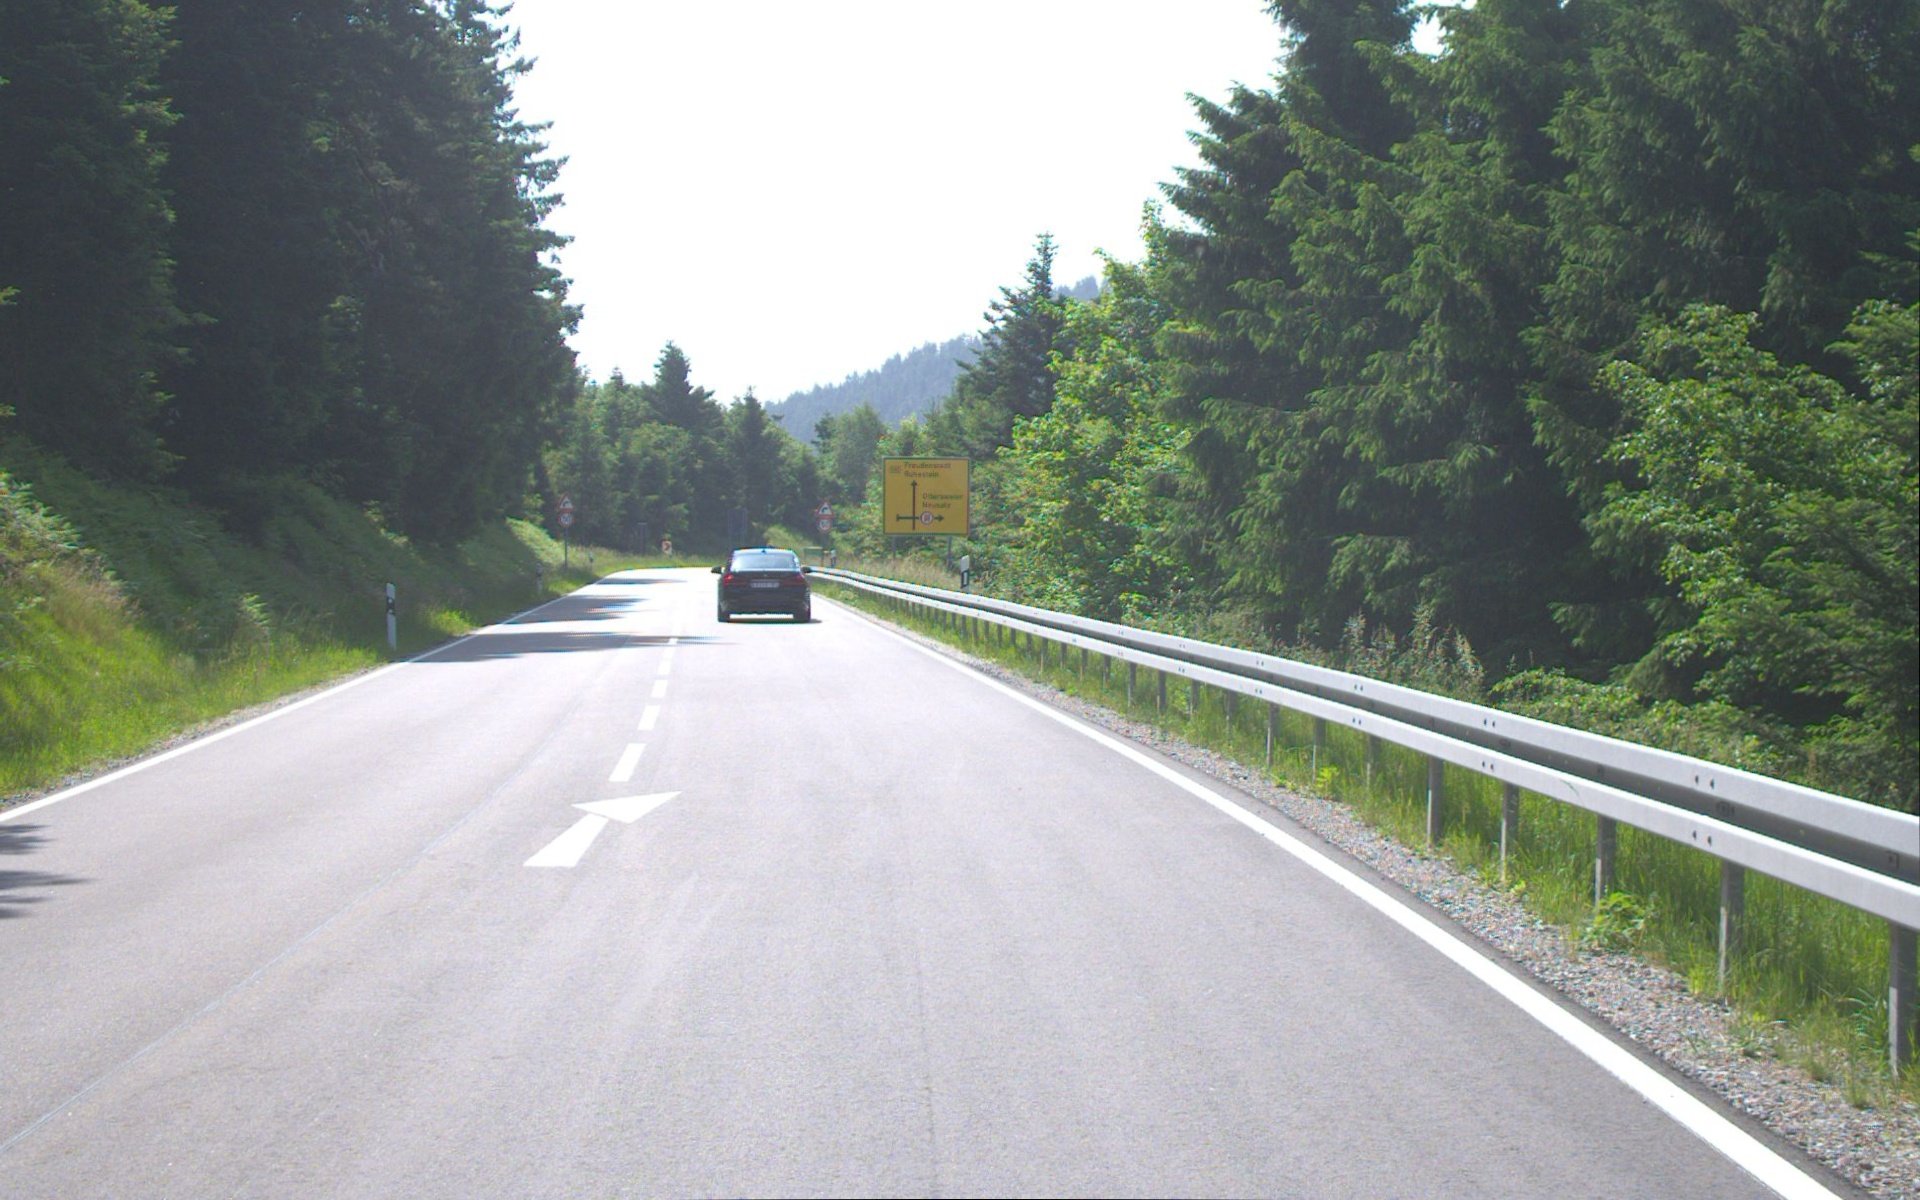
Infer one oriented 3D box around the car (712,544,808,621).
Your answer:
[{"bbox_3d":[-3.923,-0.358,67.775,1.776,1.437,3.709,-1,1,-2],"label":"car"}]
